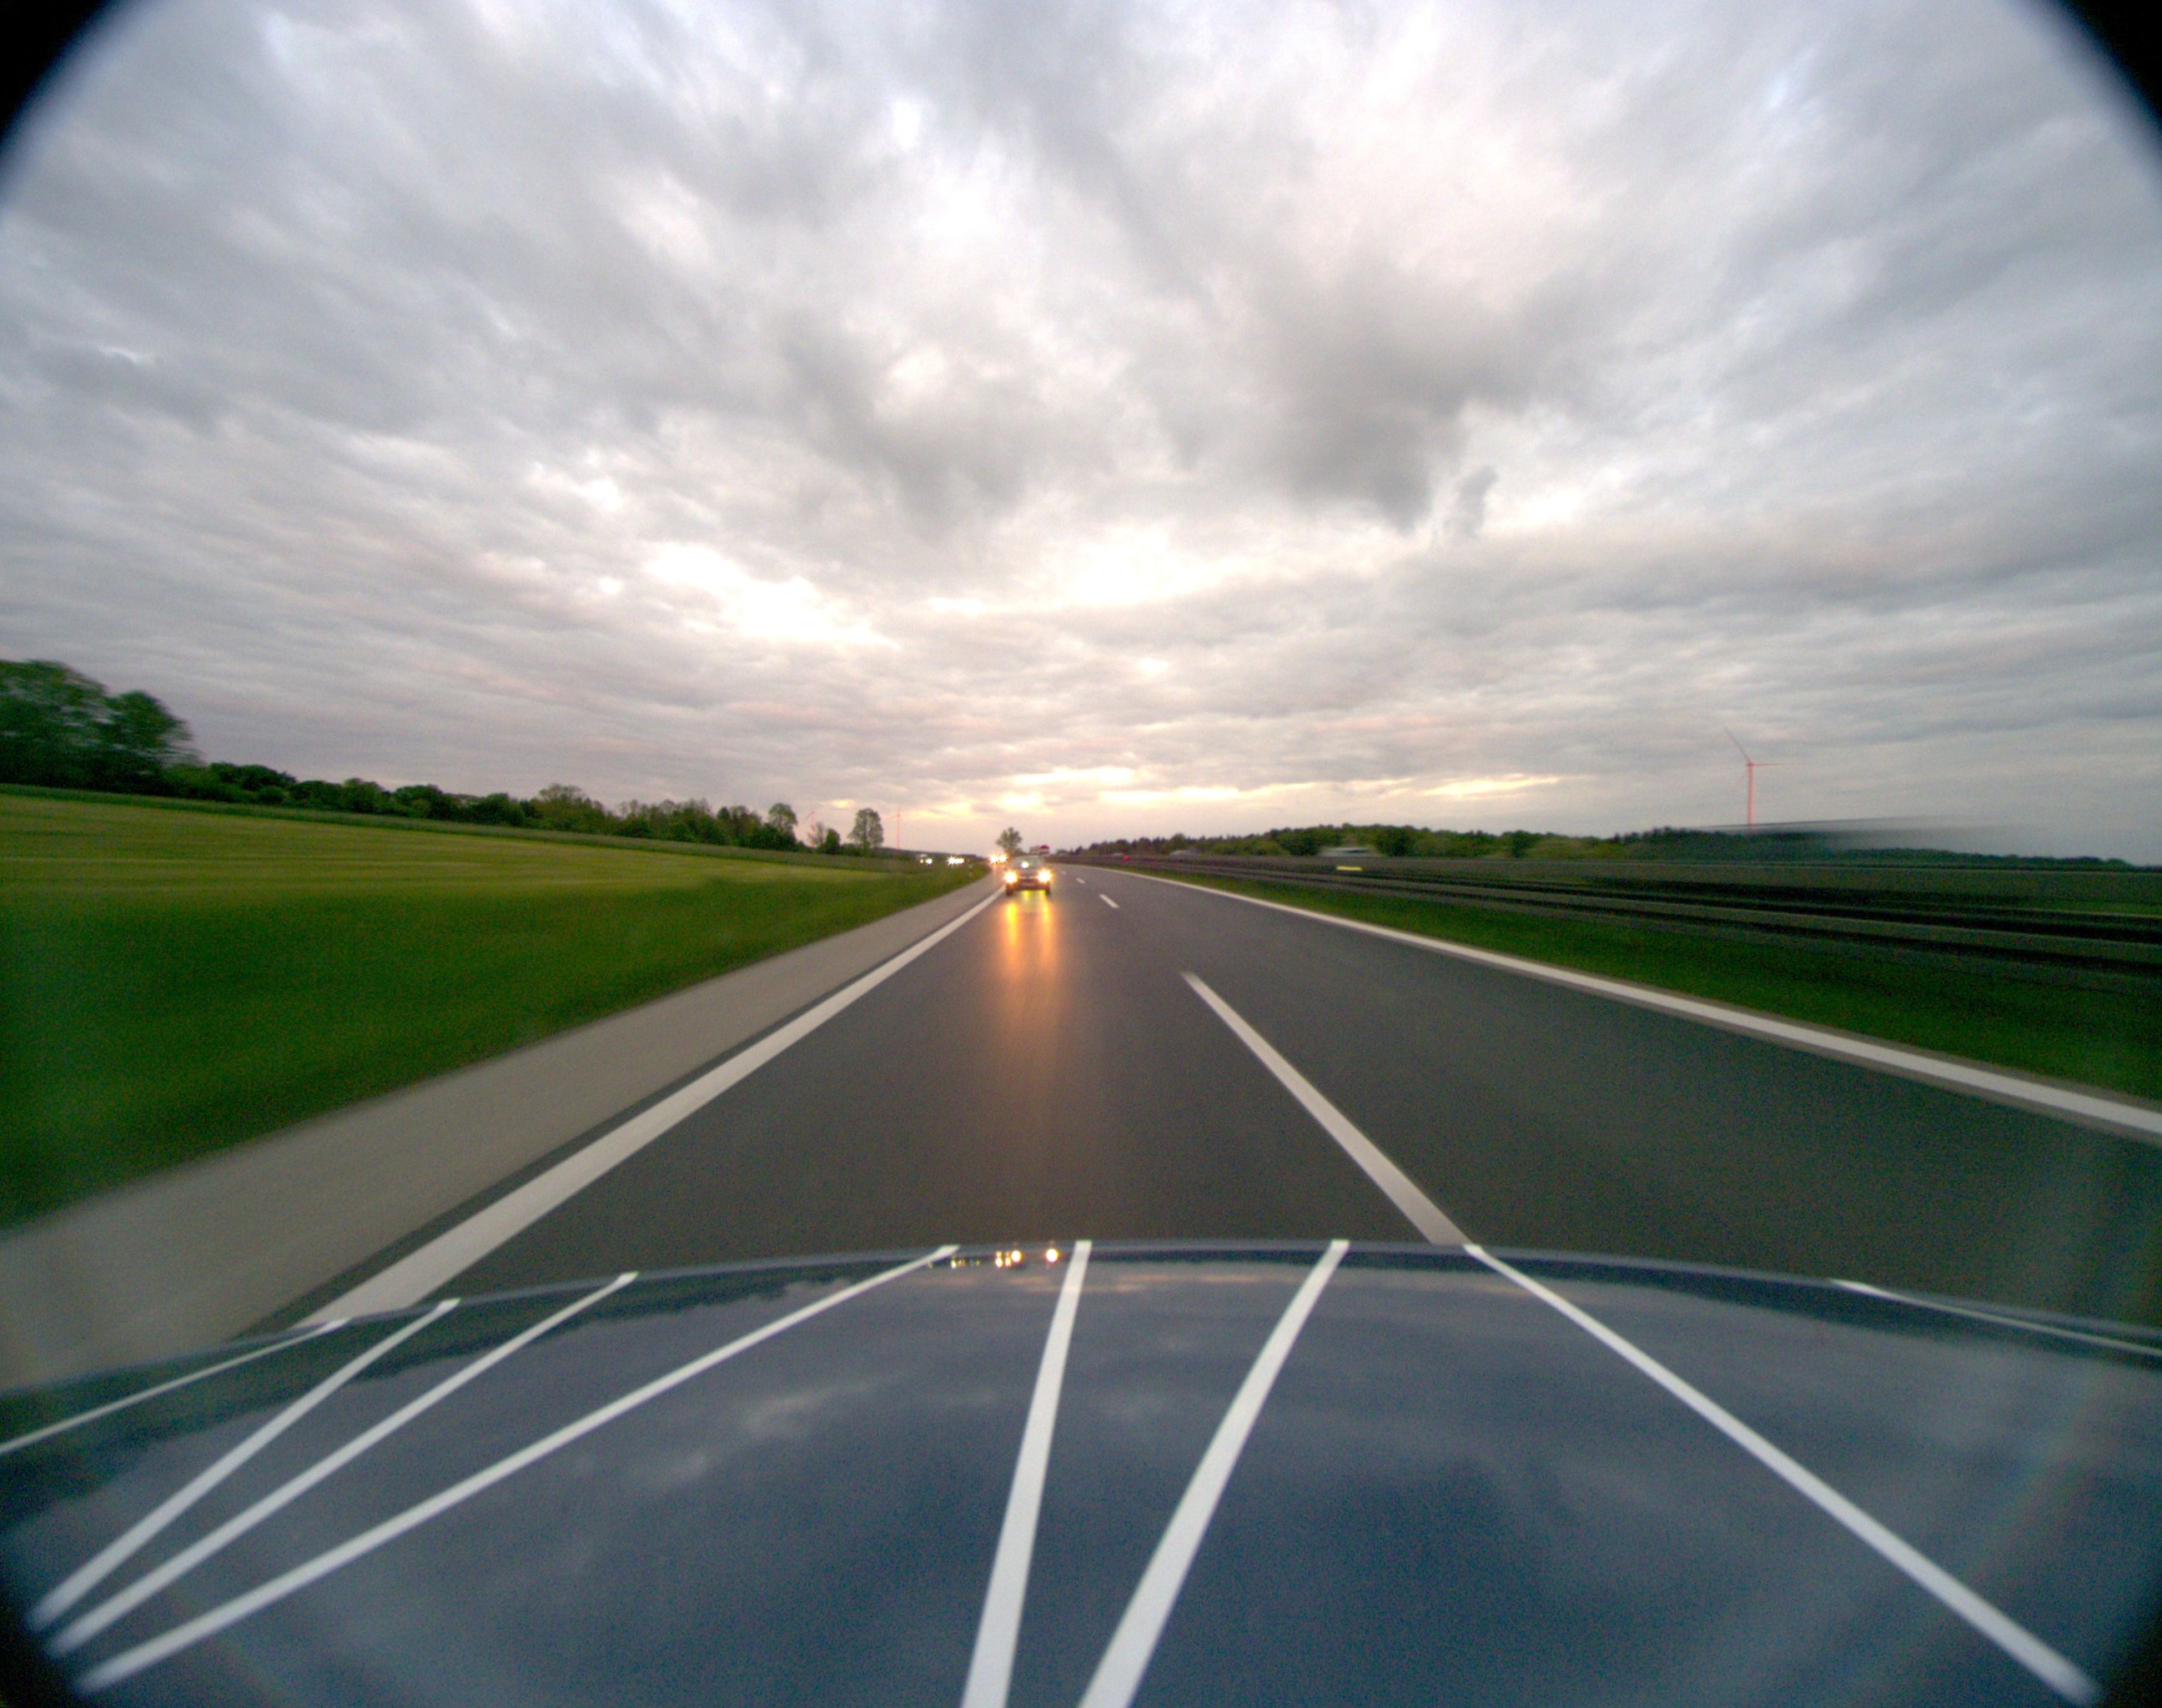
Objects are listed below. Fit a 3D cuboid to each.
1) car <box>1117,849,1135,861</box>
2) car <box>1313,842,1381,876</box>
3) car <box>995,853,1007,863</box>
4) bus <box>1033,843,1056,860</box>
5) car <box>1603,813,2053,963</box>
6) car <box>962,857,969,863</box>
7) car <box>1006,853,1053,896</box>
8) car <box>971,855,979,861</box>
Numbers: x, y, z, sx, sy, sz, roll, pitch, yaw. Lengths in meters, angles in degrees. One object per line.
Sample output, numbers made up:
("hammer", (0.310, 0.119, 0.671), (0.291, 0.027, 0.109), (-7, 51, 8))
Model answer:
("car", (5.583, 0.094, 94.331), (1.610, 1.385, 4.245), (0, 0, -5))
("car", (12.256, 0.236, 35.231), (1.613, 1.475, 3.999), (0, 0, -3))
("car", (-14.593, 0.765, 139.074), (1.921, 1.827, 3.996), (0, 0, -10))
("bus", (-9.419, -0.610, 194.624), (3.177, 4.053, 14.792), (-3, 1, -13))
("car", (10.623, 0.371, 11.499), (1.999, 1.717, 4.768), (-2, 1, -2))
("car", (-34.479, 1.705, 226.647), (1.804, 1.635, 4.088), (-2, 1, -15))
("car", (-2.015, 0.743, 29.974), (1.682, 1.504, 3.998), (-2, 0, -3))
("car", (-28.592, 1.086, 204.927), (1.804, 1.635, 4.088), (-2, 1, -14))
